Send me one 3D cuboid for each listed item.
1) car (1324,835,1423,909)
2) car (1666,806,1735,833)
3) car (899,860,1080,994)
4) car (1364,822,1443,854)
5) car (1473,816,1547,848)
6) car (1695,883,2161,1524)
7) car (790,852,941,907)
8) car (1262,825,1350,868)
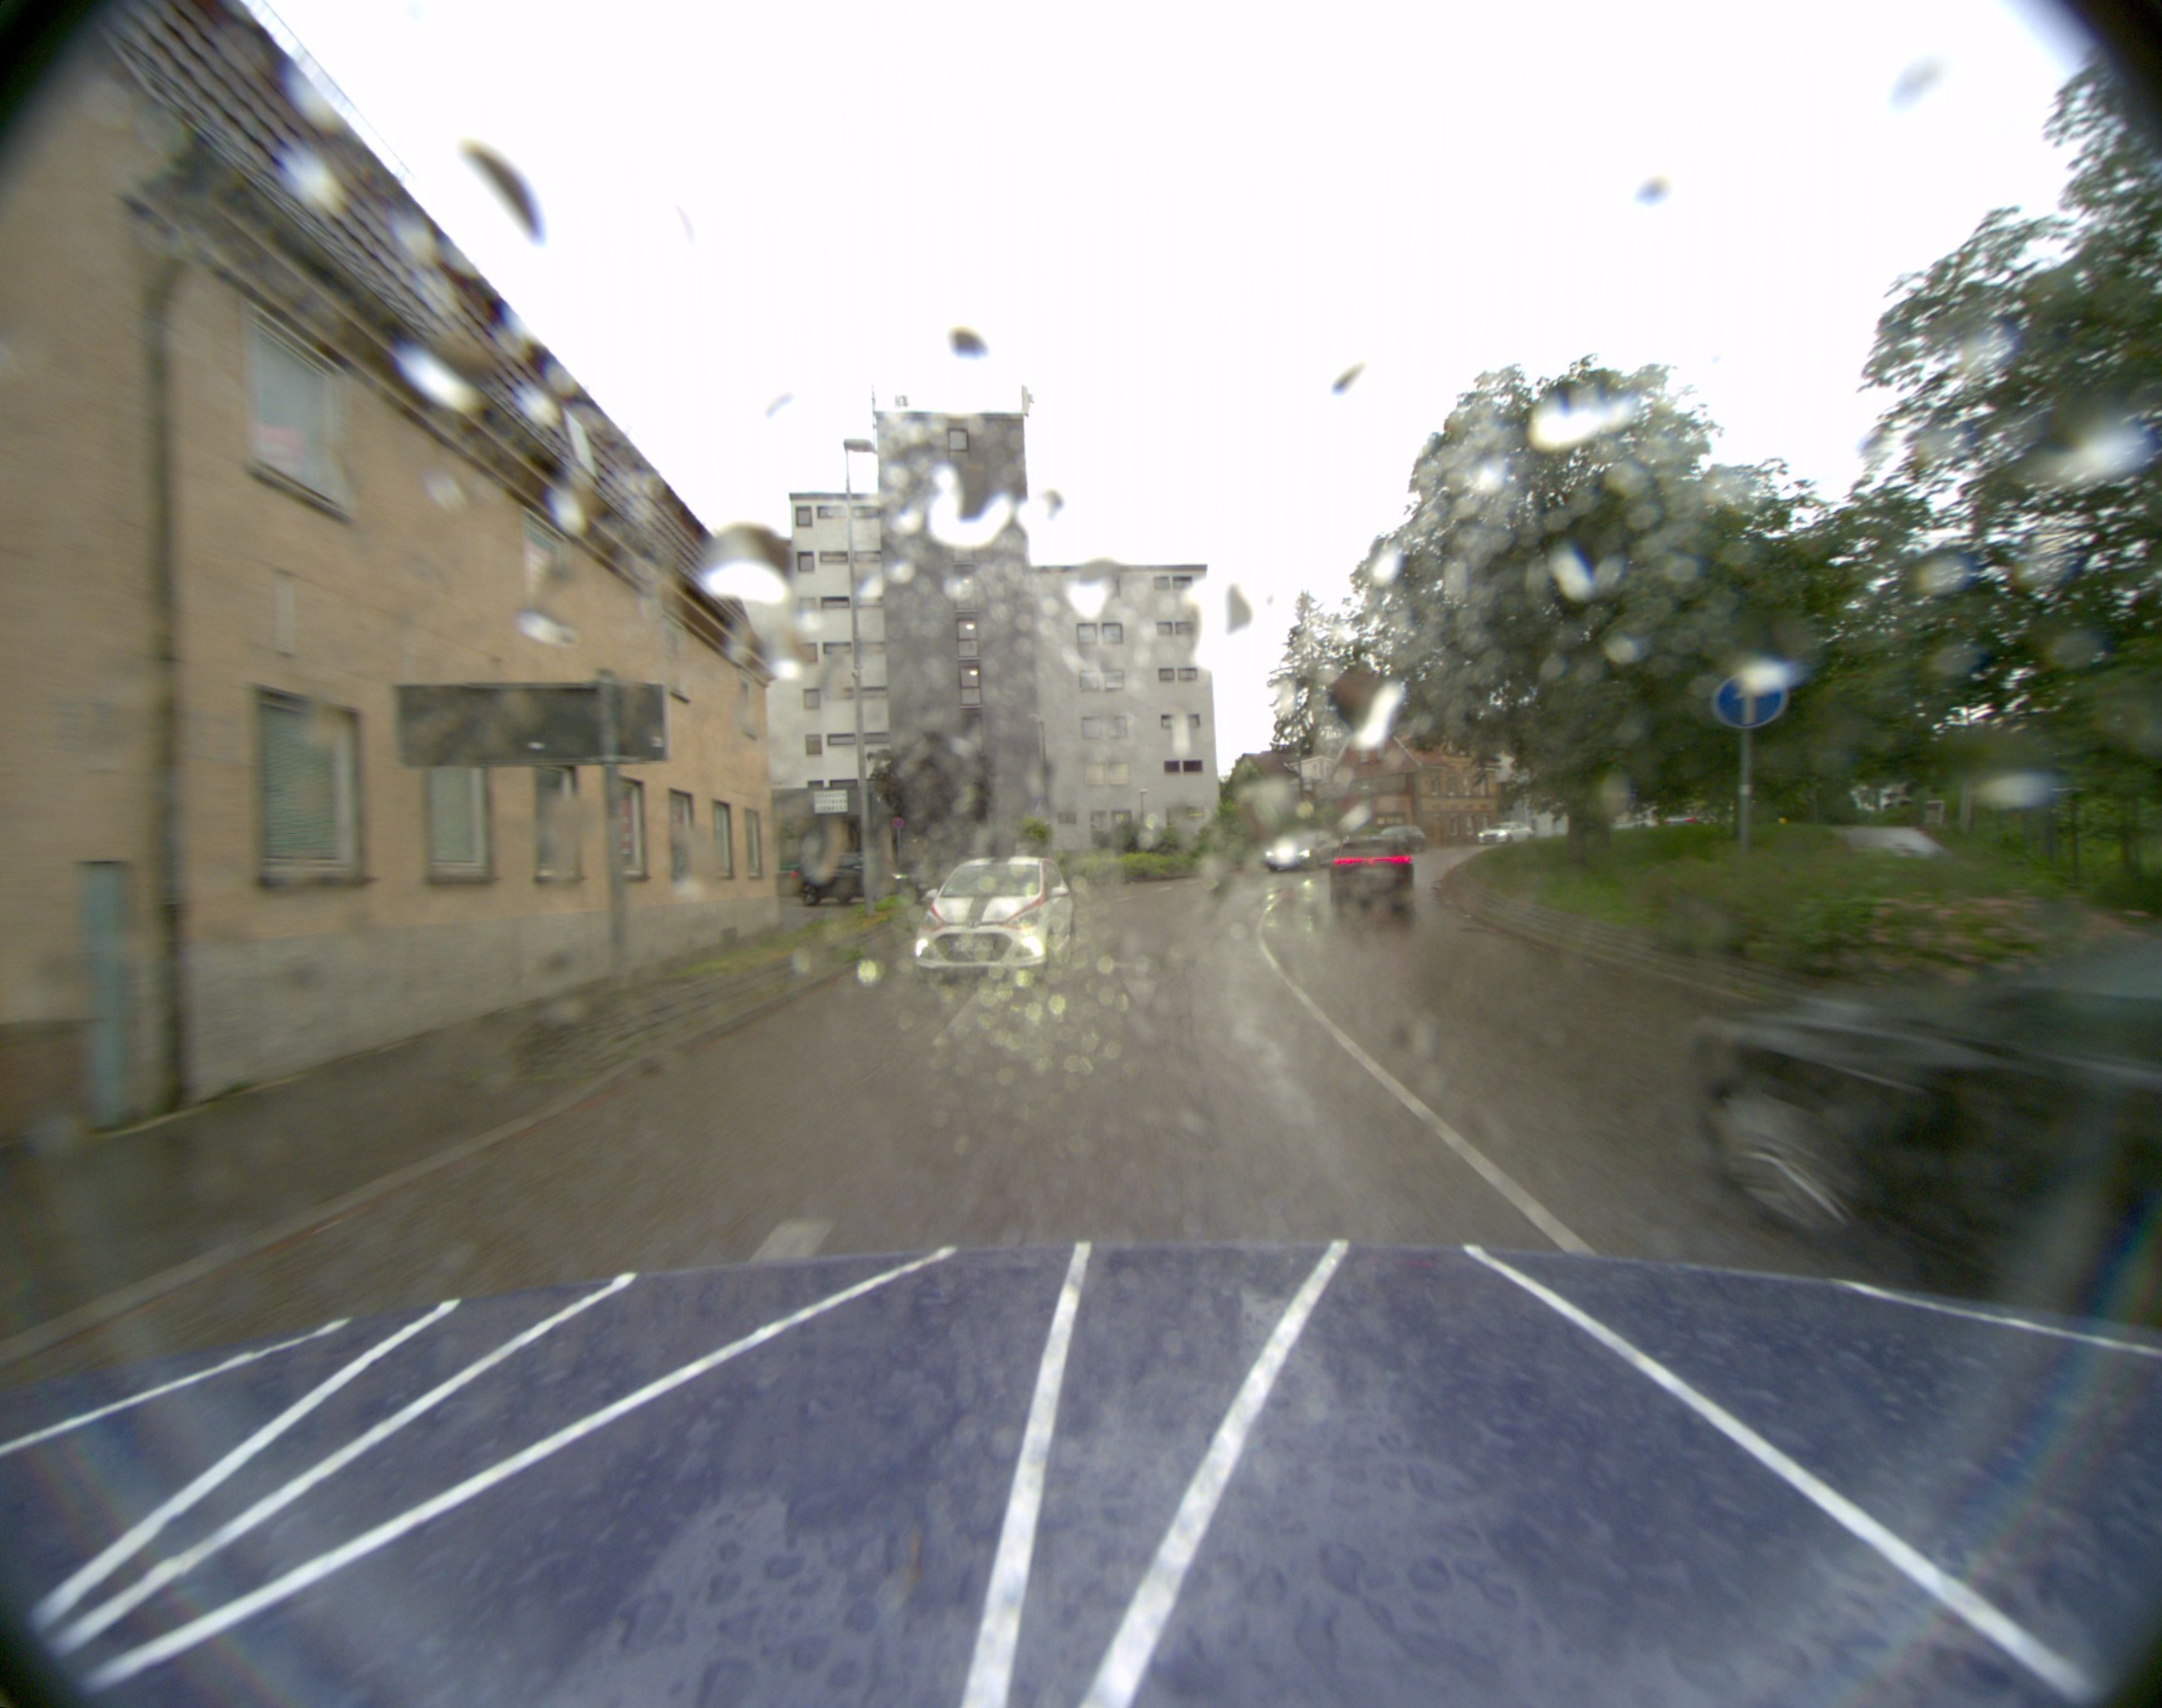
[{"bbox_3d":[6.978,0.362,18.515,1.896,1.586,4.360,0,1,16],"label":"car"},{"bbox_3d":[39.909,-2.224,48.935,4.305,1.535,1.729,-3,3,-25],"label":"car"},{"bbox_3d":[-1.083,0.880,10.786,1.710,1.444,3.764,-2,1,6],"label":"car"},{"bbox_3d":[16.426,-0.834,38.545,4.953,1.339,1.787,-4,-1,-44],"label":"car"},{"bbox_3d":[27.476,-1.388,48.632,4.954,1.648,1.898,2,-5,-32],"label":"car"},{"bbox_3d":[3.399,0.865,1.189,1.774,1.394,3.919,-2,1,2],"label":"car"},{"bbox_3d":[-6.832,0.772,24.080,4.408,1.564,1.721,-1,3,23],"label":"car"},{"bbox_3d":[9.325,-0.252,31.182,1.835,1.504,4.859,-5,-4,36],"label":"car"}]
